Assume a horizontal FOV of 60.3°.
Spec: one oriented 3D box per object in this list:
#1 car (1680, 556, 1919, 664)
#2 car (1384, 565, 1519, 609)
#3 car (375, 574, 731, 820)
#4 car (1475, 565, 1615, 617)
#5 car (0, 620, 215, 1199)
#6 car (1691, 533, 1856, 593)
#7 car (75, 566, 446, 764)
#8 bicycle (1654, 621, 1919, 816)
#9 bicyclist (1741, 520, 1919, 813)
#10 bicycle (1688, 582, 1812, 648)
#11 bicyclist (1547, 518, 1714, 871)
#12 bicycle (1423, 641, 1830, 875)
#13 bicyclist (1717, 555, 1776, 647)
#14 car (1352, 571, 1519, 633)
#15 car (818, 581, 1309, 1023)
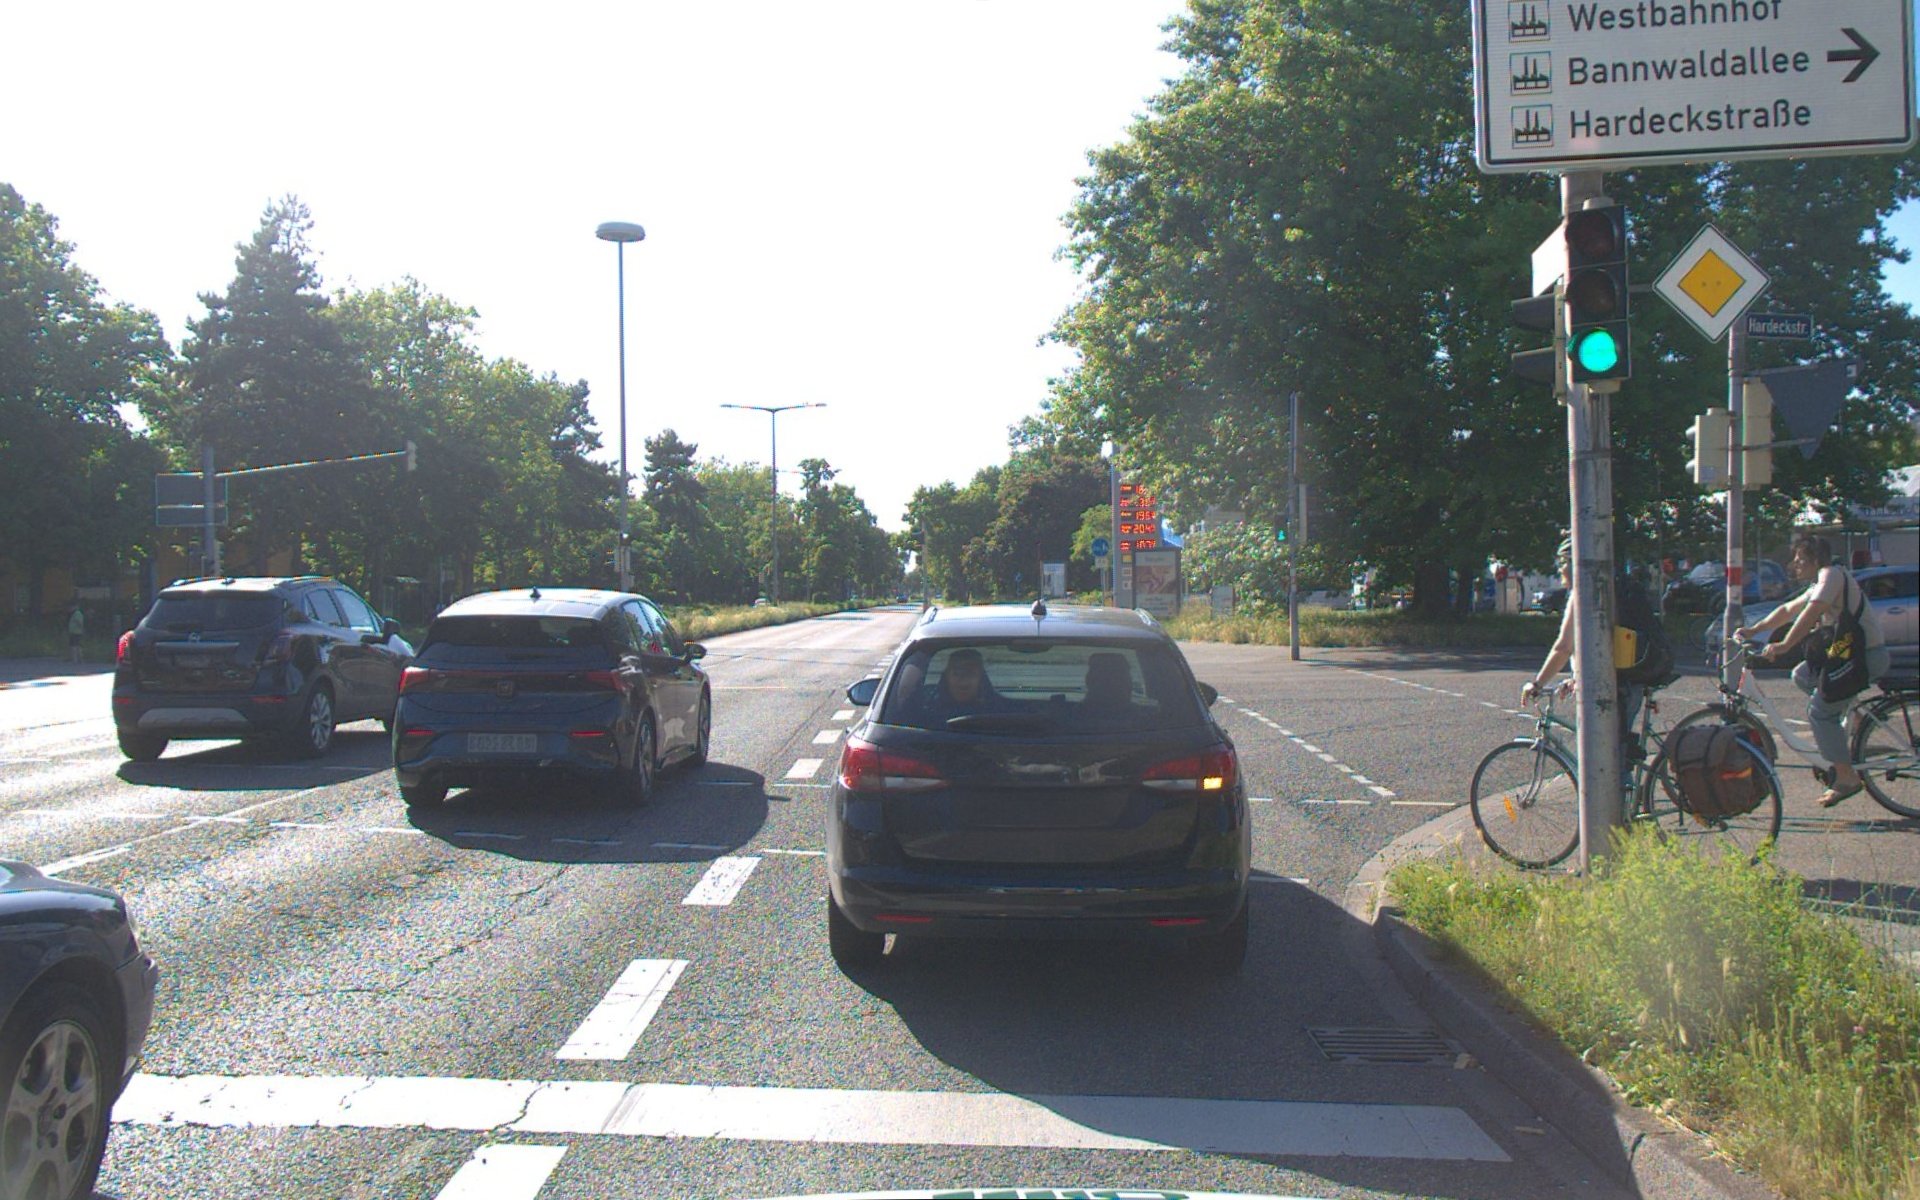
[{"bbox_3d":[13.543,0.137,24.746,4.769,1.515,1.844,-1,-1,11],"label":"car"},{"bbox_3d":[16.279,-0.412,54.804,3.917,1.358,1.794,1,0,-12],"label":"car"},{"bbox_3d":[-3.021,0.657,13.240,1.799,1.616,4.364,1,0,-1],"label":"car"},{"bbox_3d":[18.370,-0.259,51.997,3.915,1.538,1.528,1,0,-11],"label":"car"},{"bbox_3d":[-2.838,0.750,2.200,1.799,1.419,4.363,1,0,-2],"label":"car"},{"bbox_3d":[20.937,-0.917,42.583,3.935,1.400,1.746,1,0,-25],"label":"car"},{"bbox_3d":[-6.732,0.574,16.503,1.871,1.682,4.364,1,0,-1],"label":"car"},{"bbox_3d":[5.195,0.704,9.847,1.835,1.095,0.528,-5,-4,39],"label":"bicycle"},{"bbox_3d":[5.195,0.402,9.850,0.792,1.664,0.541,-5,-4,38],"label":"bicyclist"},{"bbox_3d":[14.516,0.269,30.412,1.976,1.161,0.529,-1,0,5],"label":"bicycle"},{"bbox_3d":[3.437,0.482,8.482,0.574,1.726,0.524,-5,-4,39],"label":"bicyclist"},{"bbox_3d":[3.407,0.813,8.577,1.835,1.095,0.528,-5,-4,39],"label":"bicycle"},{"bbox_3d":[14.461,0.018,30.435,0.810,1.670,0.543,-1,0,5],"label":"bicyclist"},{"bbox_3d":[17.297,0.081,60.339,5.521,2.136,1.999,1,0,-2],"label":"car"},{"bbox_3d":[0.399,0.693,8.013,1.725,1.517,4.292,-1,1,1],"label":"car"}]
